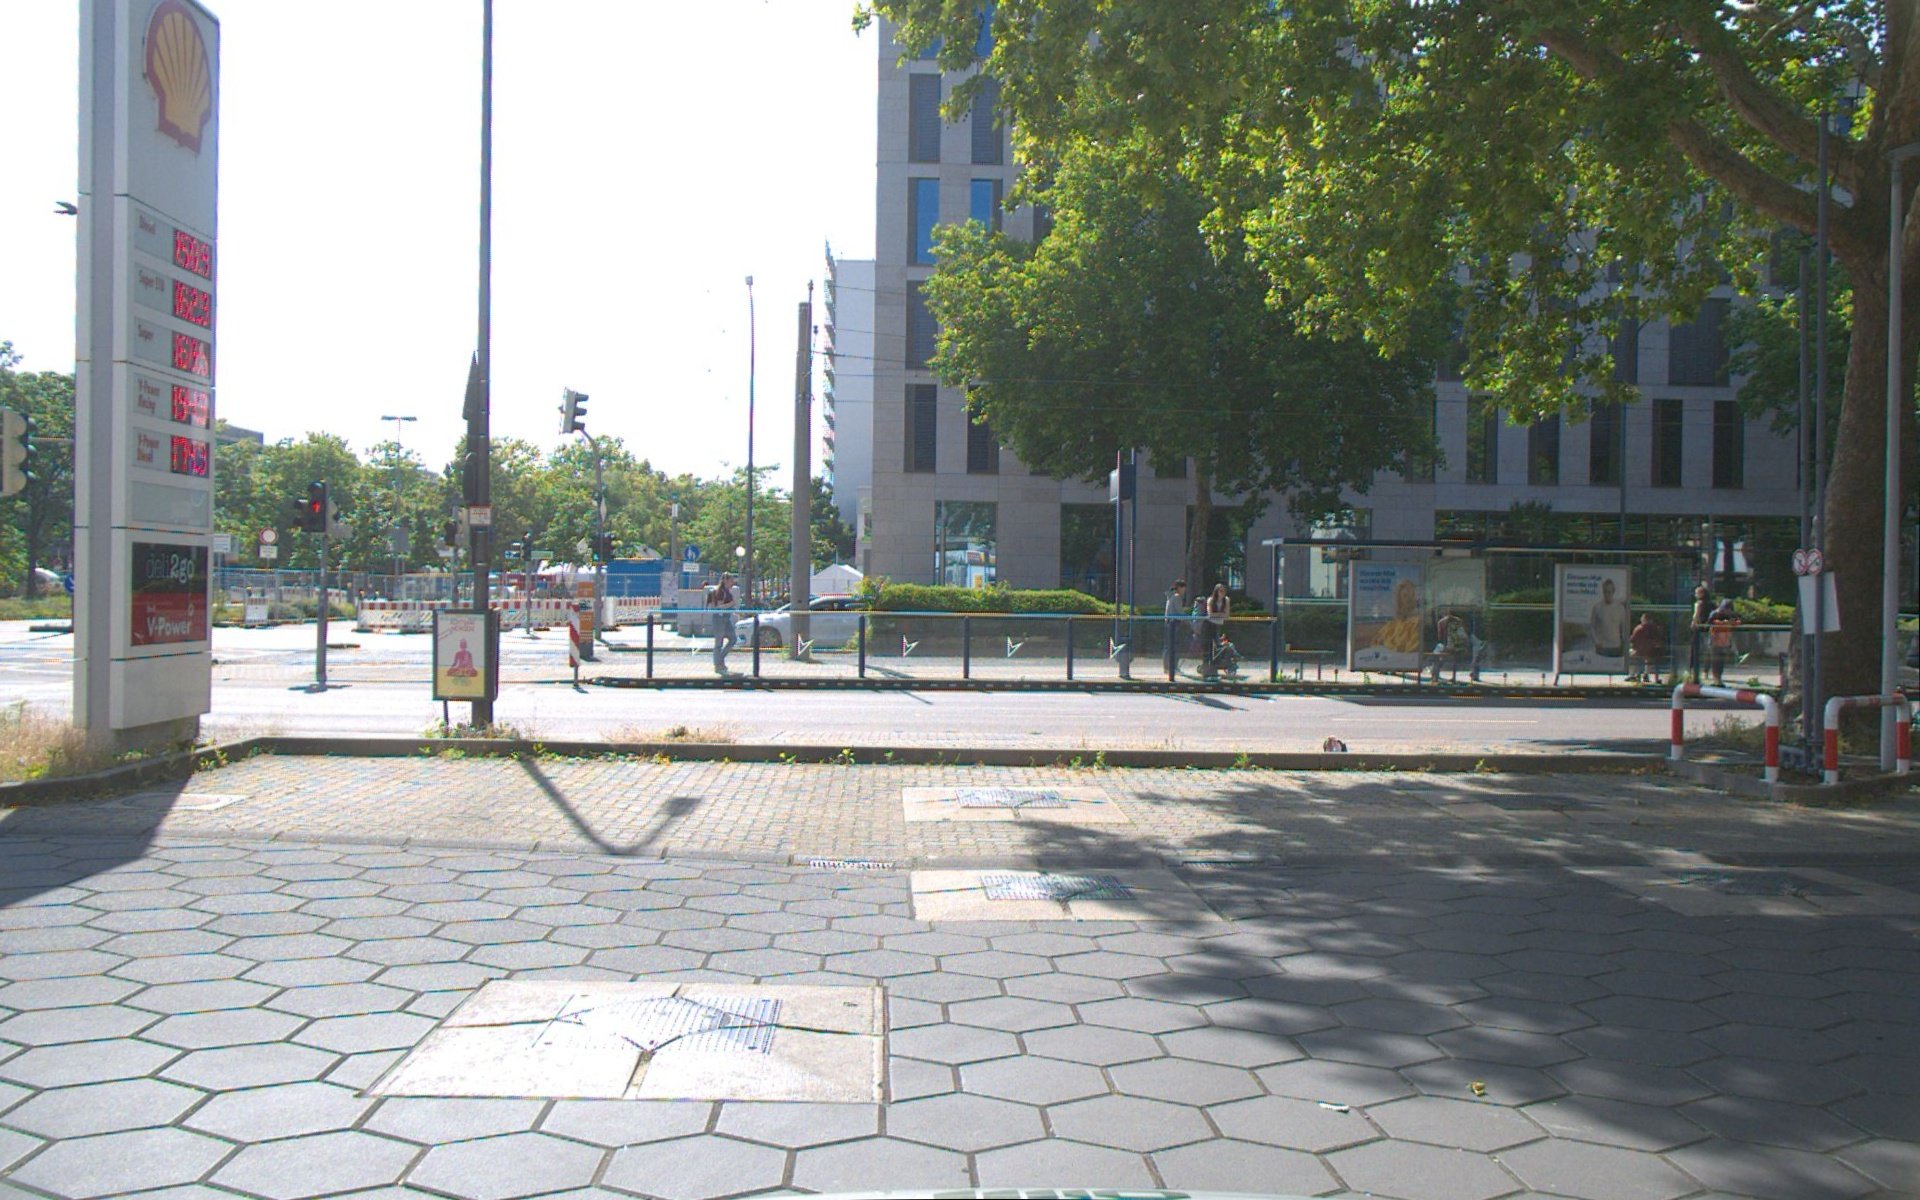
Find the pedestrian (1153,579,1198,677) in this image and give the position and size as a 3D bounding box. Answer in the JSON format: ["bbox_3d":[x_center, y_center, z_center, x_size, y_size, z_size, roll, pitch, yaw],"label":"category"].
[{"bbox_3d":[3.822,0.494,29.321,0.760,1.712,0.503,1,0,6],"label":"pedestrian"}]

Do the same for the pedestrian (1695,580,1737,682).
[{"bbox_3d":[13.251,0.534,29.002,0.489,1.766,0.524,1,0,0],"label":"pedestrian"}]

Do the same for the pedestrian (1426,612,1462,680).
[{"bbox_3d":[8.413,0.795,28.778,0.488,1.158,0.524,1,0,3],"label":"pedestrian"}]

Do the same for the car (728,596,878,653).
[{"bbox_3d":[-3.873,0.592,41.145,3.608,1.335,1.591,1,0,-2],"label":"car"}]

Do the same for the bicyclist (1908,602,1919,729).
[{"bbox_3d":[12.342,0.823,20.512,0.846,1.571,0.534,1,0,-5],"label":"bicyclist"}]

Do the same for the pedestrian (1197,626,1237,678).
[{"bbox_3d":[4.539,0.910,29.232,0.676,0.895,0.503,1,0,6],"label":"pedestrian"}]

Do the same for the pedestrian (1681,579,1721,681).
[{"bbox_3d":[13.702,0.549,30.601,0.489,1.857,0.524,1,0,0],"label":"pedestrian"}]

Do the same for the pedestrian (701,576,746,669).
[{"bbox_3d":[-4.058,0.375,28.391,0.636,1.567,0.503,1,0,6],"label":"pedestrian"}]

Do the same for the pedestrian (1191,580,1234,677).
[{"bbox_3d":[4.323,0.483,28.312,0.572,1.619,0.670,1,2,-3],"label":"pedestrian"}]

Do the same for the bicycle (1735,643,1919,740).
[{"bbox_3d":[10.425,1.093,19.855,1.981,1.101,0.639,1,0,-7],"label":"bicycle"}]

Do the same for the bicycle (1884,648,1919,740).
[{"bbox_3d":[12.522,1.169,20.538,1.824,1.101,0.524,1,0,-4],"label":"bicycle"}]

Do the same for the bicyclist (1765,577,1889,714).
[{"bbox_3d":[10.402,0.540,19.864,1.147,1.608,0.639,1,0,-7],"label":"bicyclist"}]

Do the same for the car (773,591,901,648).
[{"bbox_3d":[-3.585,0.567,47.948,3.613,1.579,1.589,1,0,-9],"label":"car"}]

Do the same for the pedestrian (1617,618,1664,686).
[{"bbox_3d":[11.954,0.910,29.049,0.615,1.157,0.524,1,0,3],"label":"pedestrian"}]

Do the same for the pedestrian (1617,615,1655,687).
[{"bbox_3d":[11.914,0.894,29.138,0.489,1.241,0.406,1,0,0],"label":"pedestrian"}]
